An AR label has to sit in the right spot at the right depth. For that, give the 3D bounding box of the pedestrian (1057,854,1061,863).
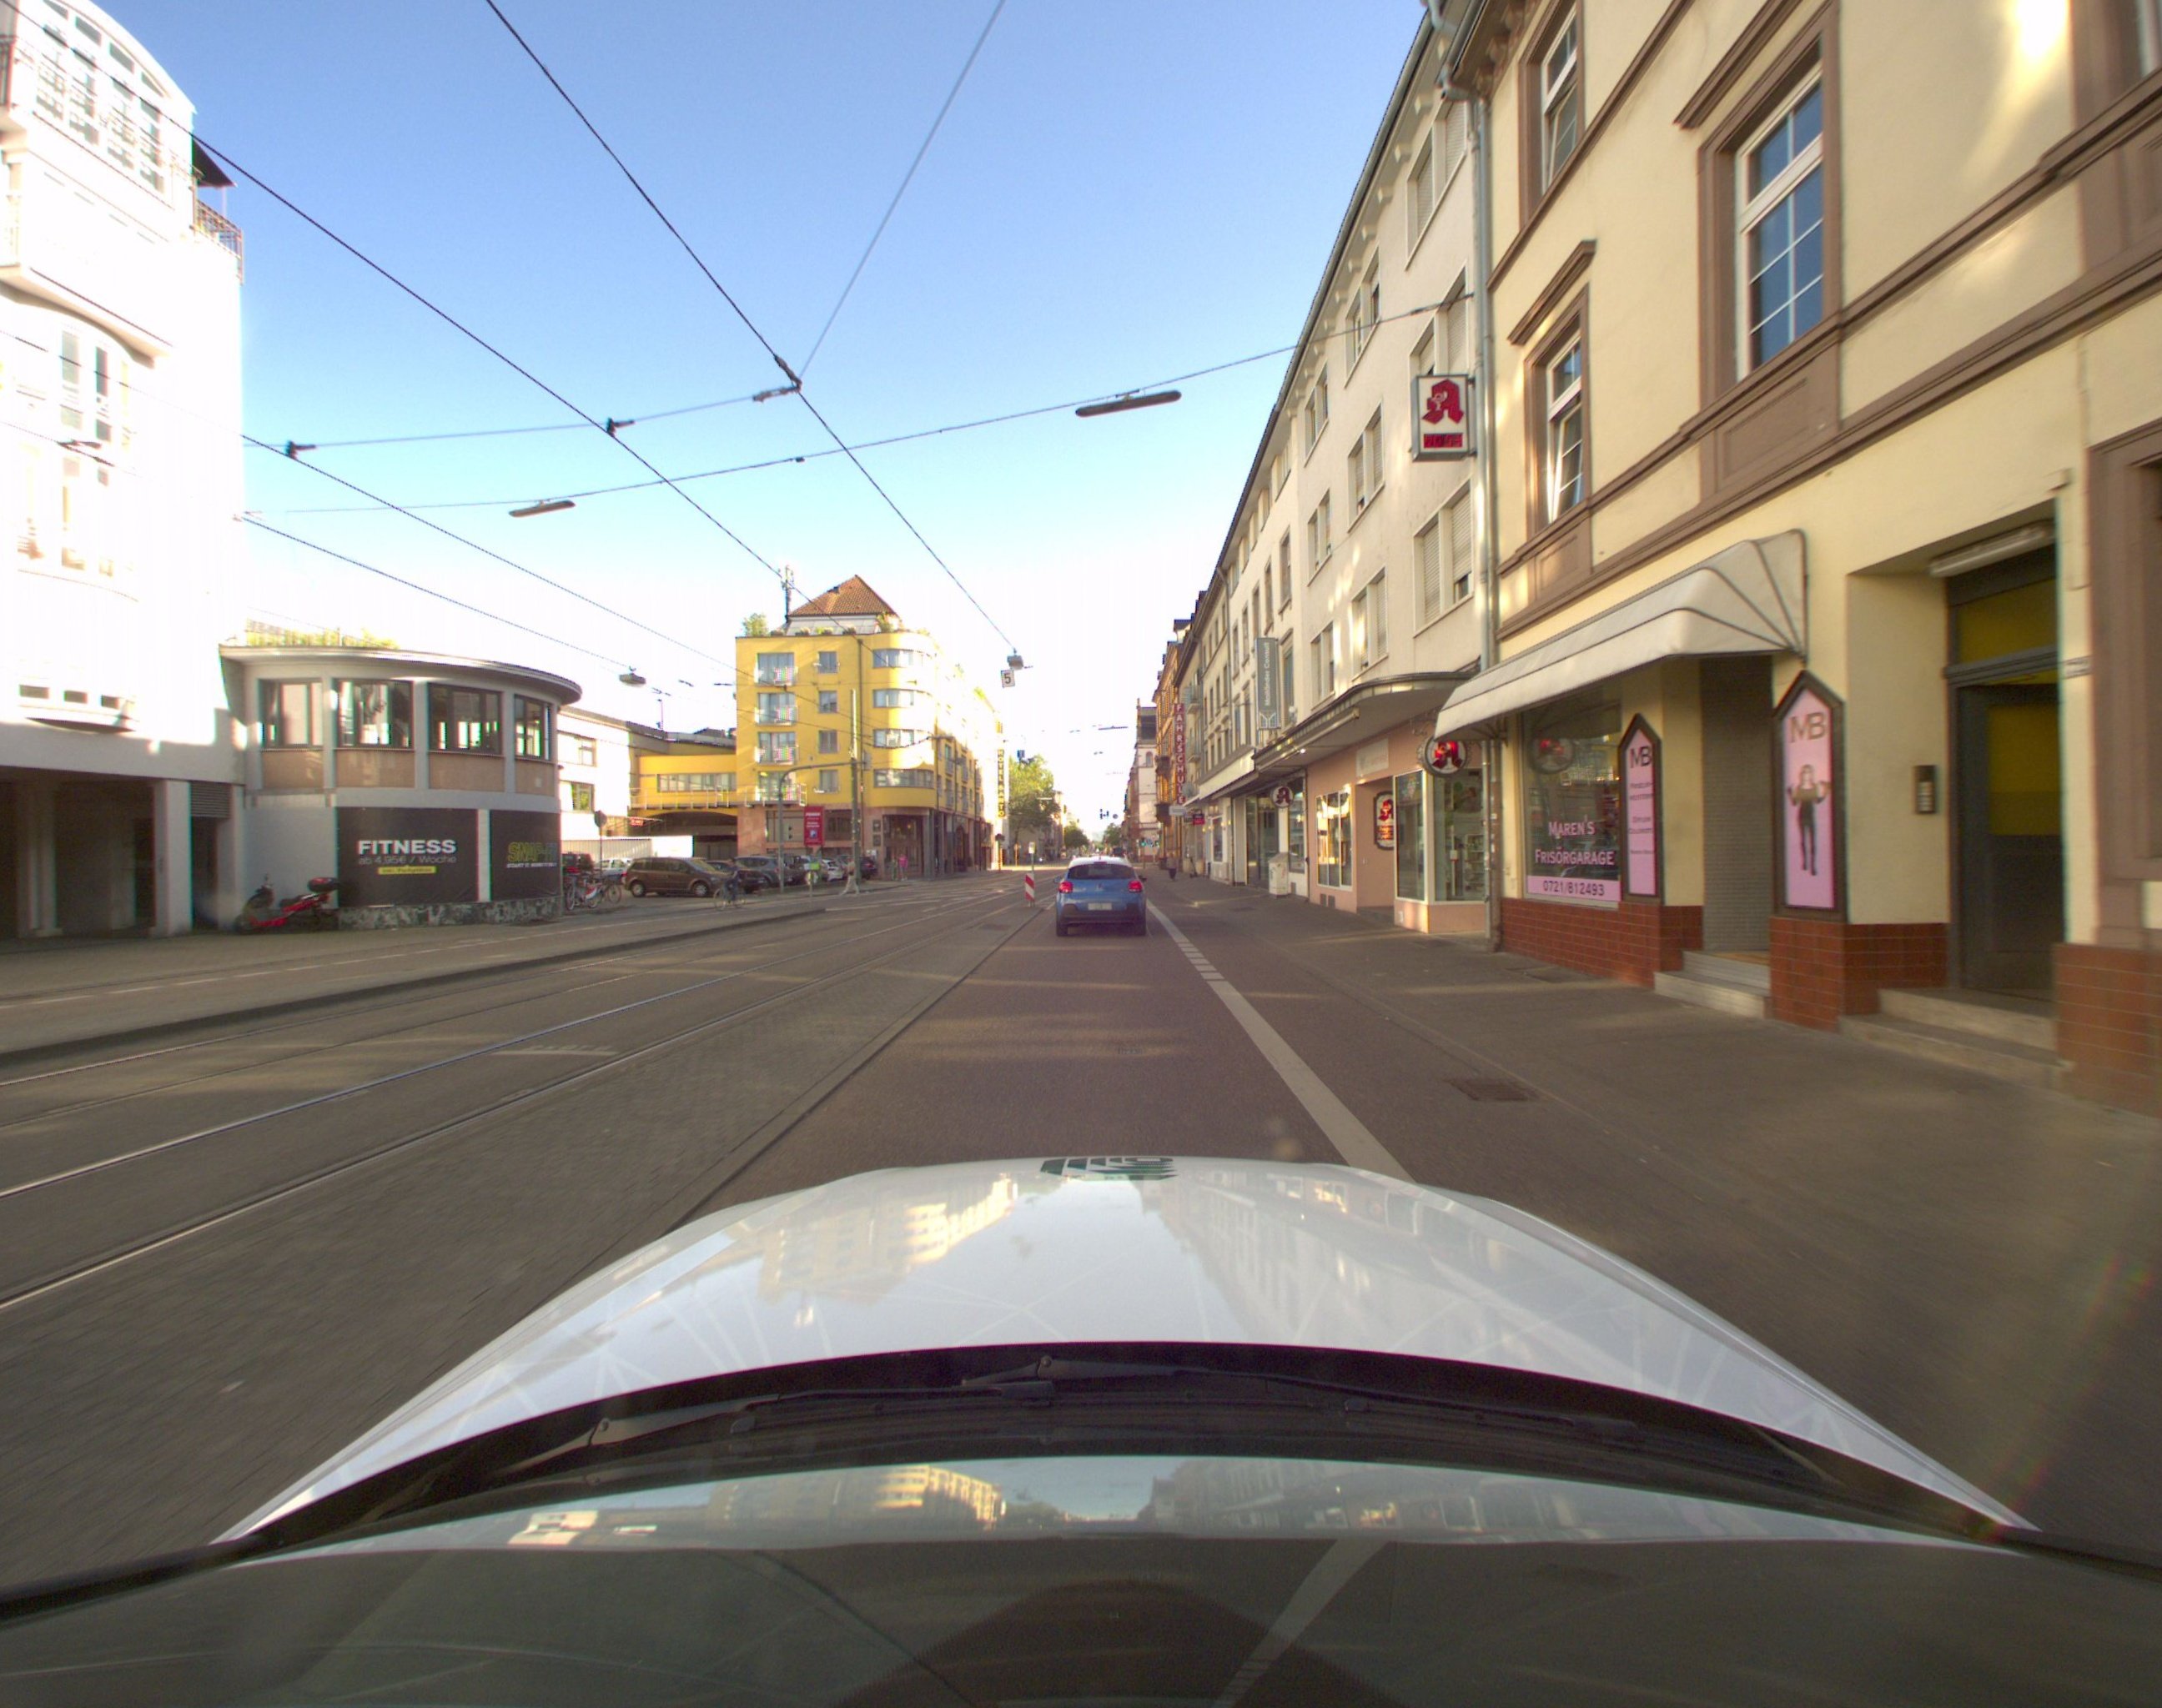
[{"bbox_3d":[-4.399,0.803,162.231,0.678,1.765,1.029,-1,0,12],"label":"pedestrian"}]

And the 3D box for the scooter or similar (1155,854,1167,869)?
[{"bbox_3d":[6.810,0.636,69.267,0.894,1.148,0.547,-5,0,-1],"label":"scooter or similar"}]

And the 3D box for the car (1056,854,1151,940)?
[{"bbox_3d":[0.487,0.776,16.714,1.667,1.477,4.002,-2,0,2],"label":"car"}]

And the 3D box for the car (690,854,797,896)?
[{"bbox_3d":[-15.684,0.955,37.987,4.218,1.812,1.786,-1,0,1],"label":"car"}]

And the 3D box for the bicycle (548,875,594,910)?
[{"bbox_3d":[-16.379,1.212,26.194,0.462,1.036,1.875,-1,0,-6],"label":"bicycle"}]

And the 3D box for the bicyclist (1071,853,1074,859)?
[{"bbox_3d":[-2.039,0.487,191.346,0.680,1.483,0.778,-1,0,0],"label":"bicyclist"}]

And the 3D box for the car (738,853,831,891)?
[{"bbox_3d":[-15.687,0.974,43.216,4.218,1.812,1.785,-2,-2,1],"label":"car"}]

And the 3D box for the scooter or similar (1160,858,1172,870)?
[{"bbox_3d":[7.062,0.824,67.748,0.788,0.957,0.680,-5,0,-1],"label":"scooter or similar"}]

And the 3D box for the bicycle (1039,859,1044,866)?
[{"bbox_3d":[-6.019,1.288,124.422,0.728,1.065,2.061,-1,0,0],"label":"bicycle"}]

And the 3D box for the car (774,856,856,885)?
[{"bbox_3d":[-15.769,1.003,48.415,4.218,1.548,1.785,-2,-2,1],"label":"car"}]

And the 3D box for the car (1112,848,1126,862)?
[{"bbox_3d":[6.986,0.162,149.840,2.263,2.436,5.721,-1,0,1],"label":"car"}]

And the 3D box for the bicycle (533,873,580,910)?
[{"bbox_3d":[-16.923,1.194,26.305,0.462,1.087,1.875,-1,0,-6],"label":"bicycle"}]

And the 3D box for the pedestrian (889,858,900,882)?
[{"bbox_3d":[-12.546,1.059,54.721,0.570,1.617,0.499,-1,0,0],"label":"pedestrian"}]

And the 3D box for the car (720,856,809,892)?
[{"bbox_3d":[-15.709,0.963,40.564,3.676,1.672,1.786,-1,0,1],"label":"car"}]

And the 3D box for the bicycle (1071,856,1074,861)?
[{"bbox_3d":[-2.036,1.019,191.490,0.690,1.120,2.084,-1,0,1],"label":"bicycle"}]

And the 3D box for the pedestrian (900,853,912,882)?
[{"bbox_3d":[-11.772,0.883,54.723,0.635,1.946,0.709,-1,0,0],"label":"pedestrian"}]

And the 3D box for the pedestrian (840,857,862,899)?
[{"bbox_3d":[-9.764,0.997,34.584,0.712,1.764,0.779,-1,0,-5],"label":"pedestrian"}]

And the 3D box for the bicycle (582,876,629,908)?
[{"bbox_3d":[-16.264,1.296,27.846,1.856,1.036,0.428,-1,0,26],"label":"bicycle"}]

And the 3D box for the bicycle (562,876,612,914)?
[{"bbox_3d":[-14.919,1.231,24.663,0.523,1.036,1.875,-1,0,-6],"label":"bicycle"}]

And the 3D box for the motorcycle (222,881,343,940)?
[{"bbox_3d":[-18.223,1.275,18.622,1.978,1.263,0.674,-1,0,-4],"label":"motorcycle"}]

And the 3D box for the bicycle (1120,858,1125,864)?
[{"bbox_3d":[6.610,1.094,129.361,0.430,0.947,1.760,-1,0,-6],"label":"bicycle"}]

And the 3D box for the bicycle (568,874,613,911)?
[{"bbox_3d":[-15.809,1.225,26.273,0.462,1.080,1.875,-1,0,-6],"label":"bicycle"}]

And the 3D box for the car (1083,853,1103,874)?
[{"bbox_3d":[1.242,0.963,83.830,1.986,2.013,4.001,-2,0,1],"label":"car"}]

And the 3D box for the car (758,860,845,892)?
[{"bbox_3d":[-15.623,1.246,45.651,4.218,1.609,1.785,-2,-1,1],"label":"car"}]

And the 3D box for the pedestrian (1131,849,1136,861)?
[{"bbox_3d":[8.559,0.174,132.829,0.703,1.782,0.672,1,-2,-1],"label":"pedestrian"}]

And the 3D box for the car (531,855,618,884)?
[{"bbox_3d":[-27.315,0.821,44.002,3.626,1.481,1.627,-1,2,-1],"label":"car"}]

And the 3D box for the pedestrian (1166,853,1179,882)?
[{"bbox_3d":[5.070,0.753,45.194,0.646,1.560,0.781,-1,0,0],"label":"pedestrian"}]

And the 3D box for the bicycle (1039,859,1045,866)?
[{"bbox_3d":[-5.627,1.229,118.422,0.728,1.088,2.061,-1,0,0],"label":"bicycle"}]

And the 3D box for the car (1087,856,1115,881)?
[{"bbox_3d":[1.231,0.885,51.703,1.661,1.478,4.000,-2,0,0],"label":"car"}]

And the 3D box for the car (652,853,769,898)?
[{"bbox_3d":[-16.000,0.904,35.341,4.218,1.812,1.786,-1,0,1],"label":"car"}]

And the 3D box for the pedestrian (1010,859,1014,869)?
[{"bbox_3d":[-10.425,1.564,123.792,0.541,1.552,0.516,-2,0,0],"label":"pedestrian"}]

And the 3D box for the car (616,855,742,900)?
[{"bbox_3d":[-16.246,0.914,33.048,4.218,1.763,1.786,0,0,1],"label":"car"}]

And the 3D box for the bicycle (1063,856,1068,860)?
[{"bbox_3d":[-4.658,1.197,241.631,1.118,1.319,3.639,-1,0,-4],"label":"bicycle"}]

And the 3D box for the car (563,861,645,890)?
[{"bbox_3d":[-26.975,1.200,46.112,3.567,1.479,1.695,-1,2,-1],"label":"car"}]

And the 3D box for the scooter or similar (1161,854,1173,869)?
[{"bbox_3d":[7.066,0.613,66.915,0.788,1.148,0.790,-5,0,0],"label":"scooter or similar"}]

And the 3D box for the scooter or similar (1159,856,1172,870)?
[{"bbox_3d":[7.121,0.742,68.424,0.930,1.148,0.650,-5,0,-1],"label":"scooter or similar"}]

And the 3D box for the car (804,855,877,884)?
[{"bbox_3d":[-15.783,1.023,53.560,4.218,1.812,1.786,-1,0,1],"label":"car"}]

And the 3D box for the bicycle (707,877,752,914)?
[{"bbox_3d":[-11.722,1.359,27.208,0.561,1.123,2.005,-1,0,2],"label":"bicycle"}]

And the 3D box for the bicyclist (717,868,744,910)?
[{"bbox_3d":[-11.720,1.153,27.245,0.560,1.361,0.719,-1,0,2],"label":"bicyclist"}]

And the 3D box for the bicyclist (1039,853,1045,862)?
[{"bbox_3d":[-5.629,0.511,118.152,0.722,1.381,1.228,0,1,0],"label":"bicyclist"}]

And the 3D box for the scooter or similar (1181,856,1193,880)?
[{"bbox_3d":[5.859,0.779,45.106,0.407,1.281,1.289,-1,0,17],"label":"scooter or similar"}]
